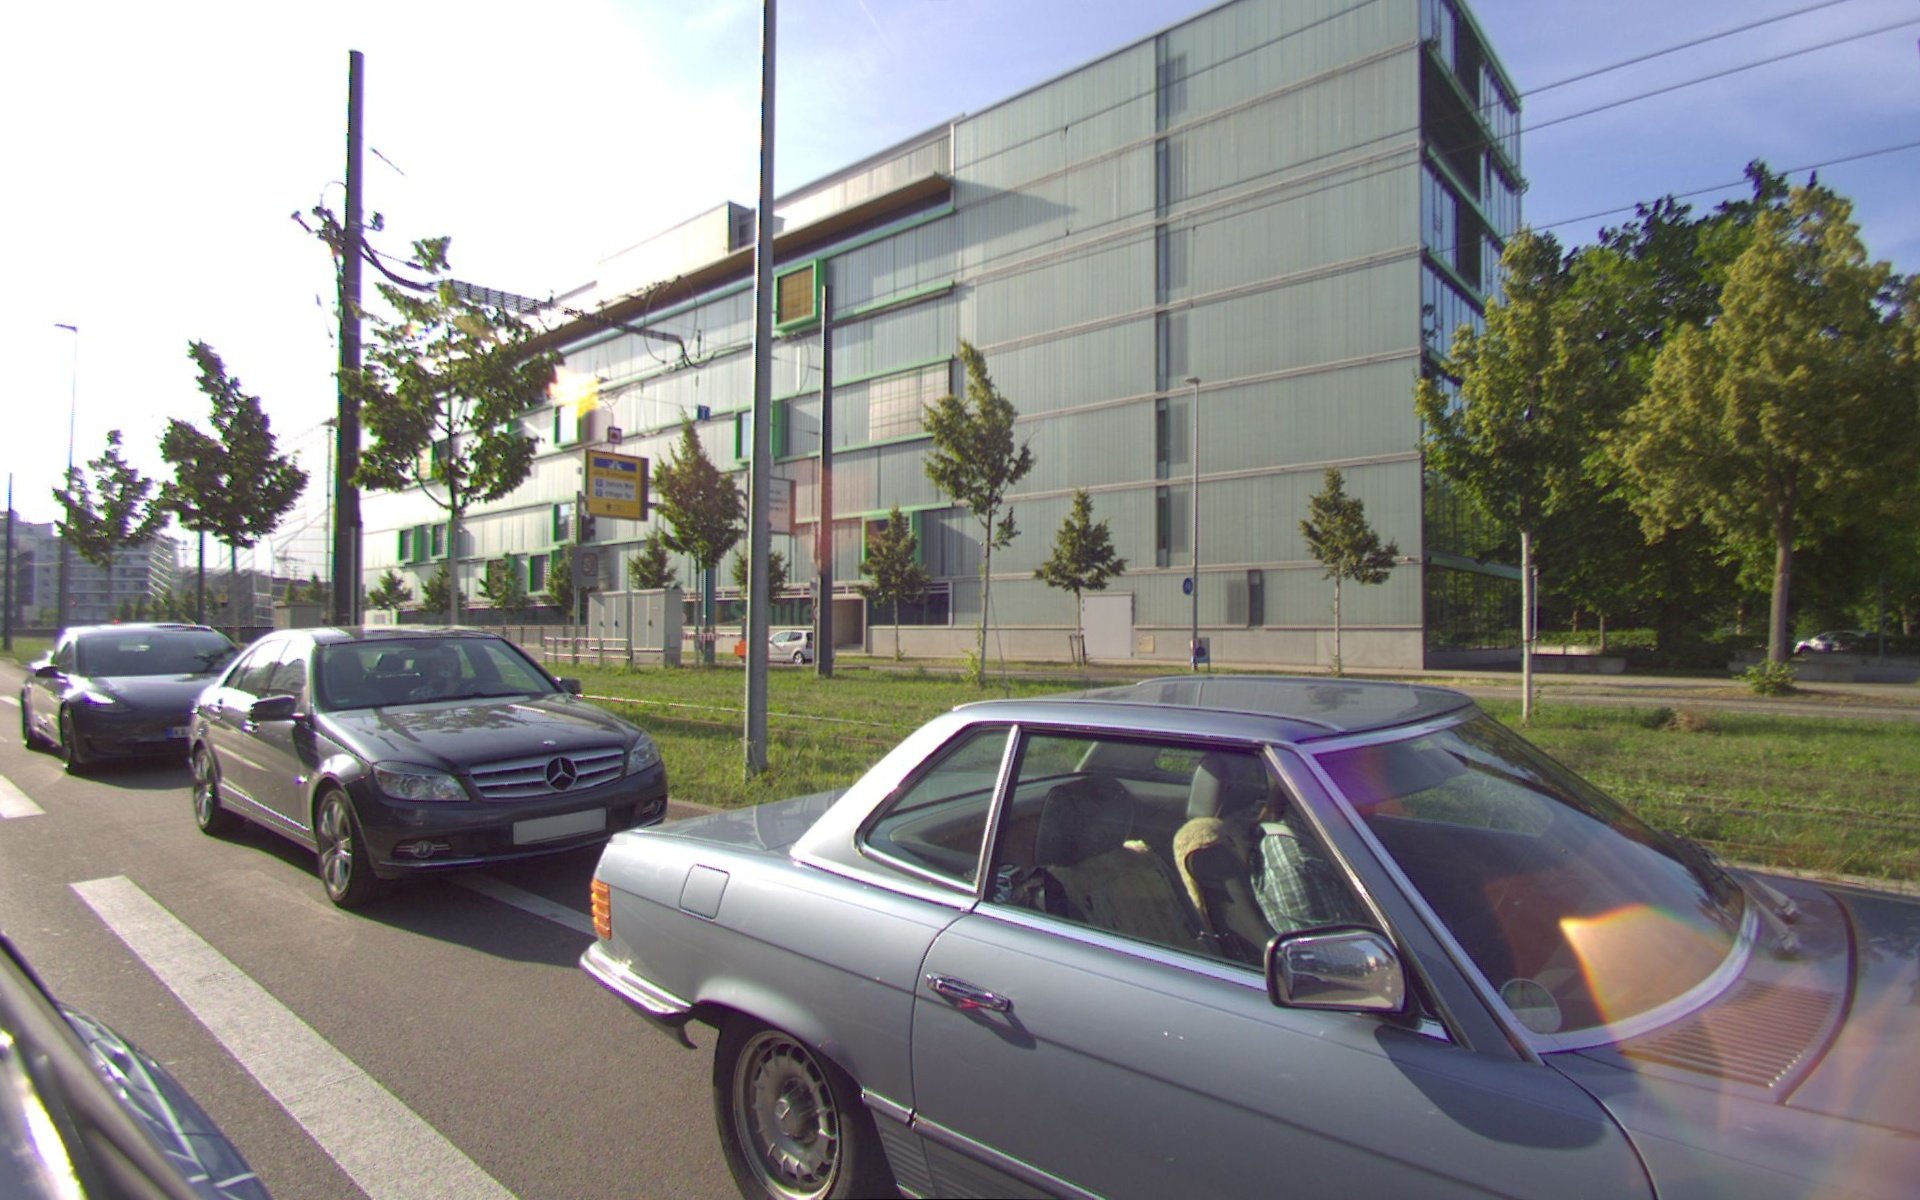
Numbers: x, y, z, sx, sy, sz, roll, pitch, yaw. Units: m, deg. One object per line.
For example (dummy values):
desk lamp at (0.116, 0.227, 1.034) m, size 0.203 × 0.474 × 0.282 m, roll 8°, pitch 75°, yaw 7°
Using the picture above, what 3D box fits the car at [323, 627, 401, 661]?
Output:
car at (-31.010, 2.277, 52.423) m, size 4.991 × 1.697 × 1.973 m, roll -2°, pitch -3°, yaw 40°

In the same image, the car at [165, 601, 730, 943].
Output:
car at (-3.546, 0.816, 6.576) m, size 4.351 × 1.490 × 1.768 m, roll -2°, pitch -1°, yaw 41°

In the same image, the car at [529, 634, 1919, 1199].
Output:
car at (1.005, 0.777, 2.139) m, size 4.397 × 1.340 × 1.746 m, roll -2°, pitch -1°, yaw 40°

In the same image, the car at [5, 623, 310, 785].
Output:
car at (-8.944, 1.000, 11.144) m, size 4.332 × 1.396 × 1.870 m, roll -2°, pitch -1°, yaw 41°

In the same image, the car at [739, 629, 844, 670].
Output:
car at (-6.787, 1.973, 40.632) m, size 4.219 × 1.539 × 1.858 m, roll -2°, pitch -3°, yaw 39°
